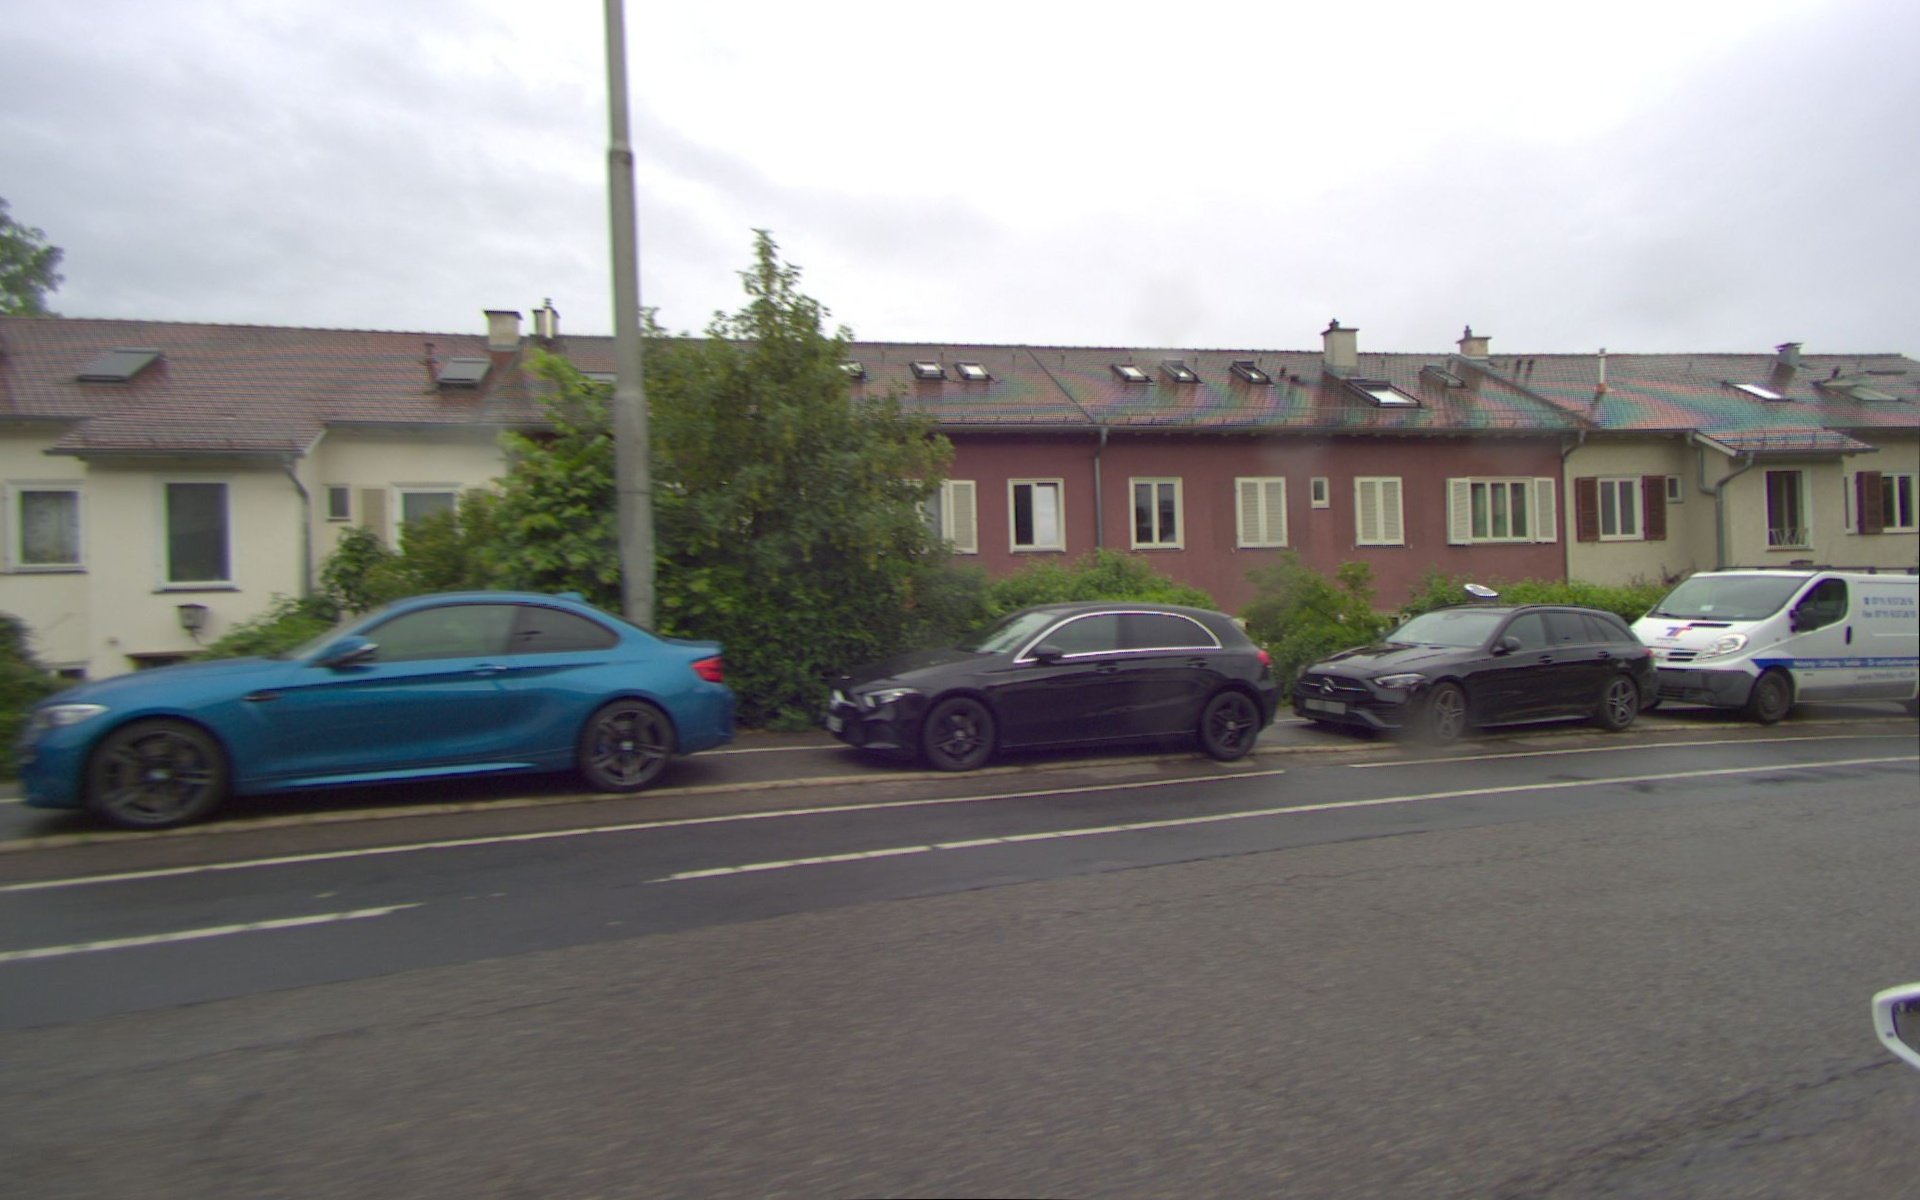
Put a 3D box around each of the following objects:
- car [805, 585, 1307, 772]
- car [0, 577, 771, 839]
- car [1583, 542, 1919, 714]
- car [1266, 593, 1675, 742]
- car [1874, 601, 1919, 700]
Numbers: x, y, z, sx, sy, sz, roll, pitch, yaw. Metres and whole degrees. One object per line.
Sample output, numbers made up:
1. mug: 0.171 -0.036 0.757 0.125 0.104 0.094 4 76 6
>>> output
1. car: 0.894 0.660 9.640 4.452 1.496 1.806 1 0 -19
2. car: -3.757 0.592 7.241 4.418 1.423 1.691 0 1 -29
3. car: 11.349 0.386 13.861 4.938 2.106 1.848 1 0 -16
4. car: 5.988 0.712 11.777 4.456 1.496 1.804 1 0 -22
5. car: 16.842 0.803 15.503 4.443 1.496 1.810 1 0 -12
